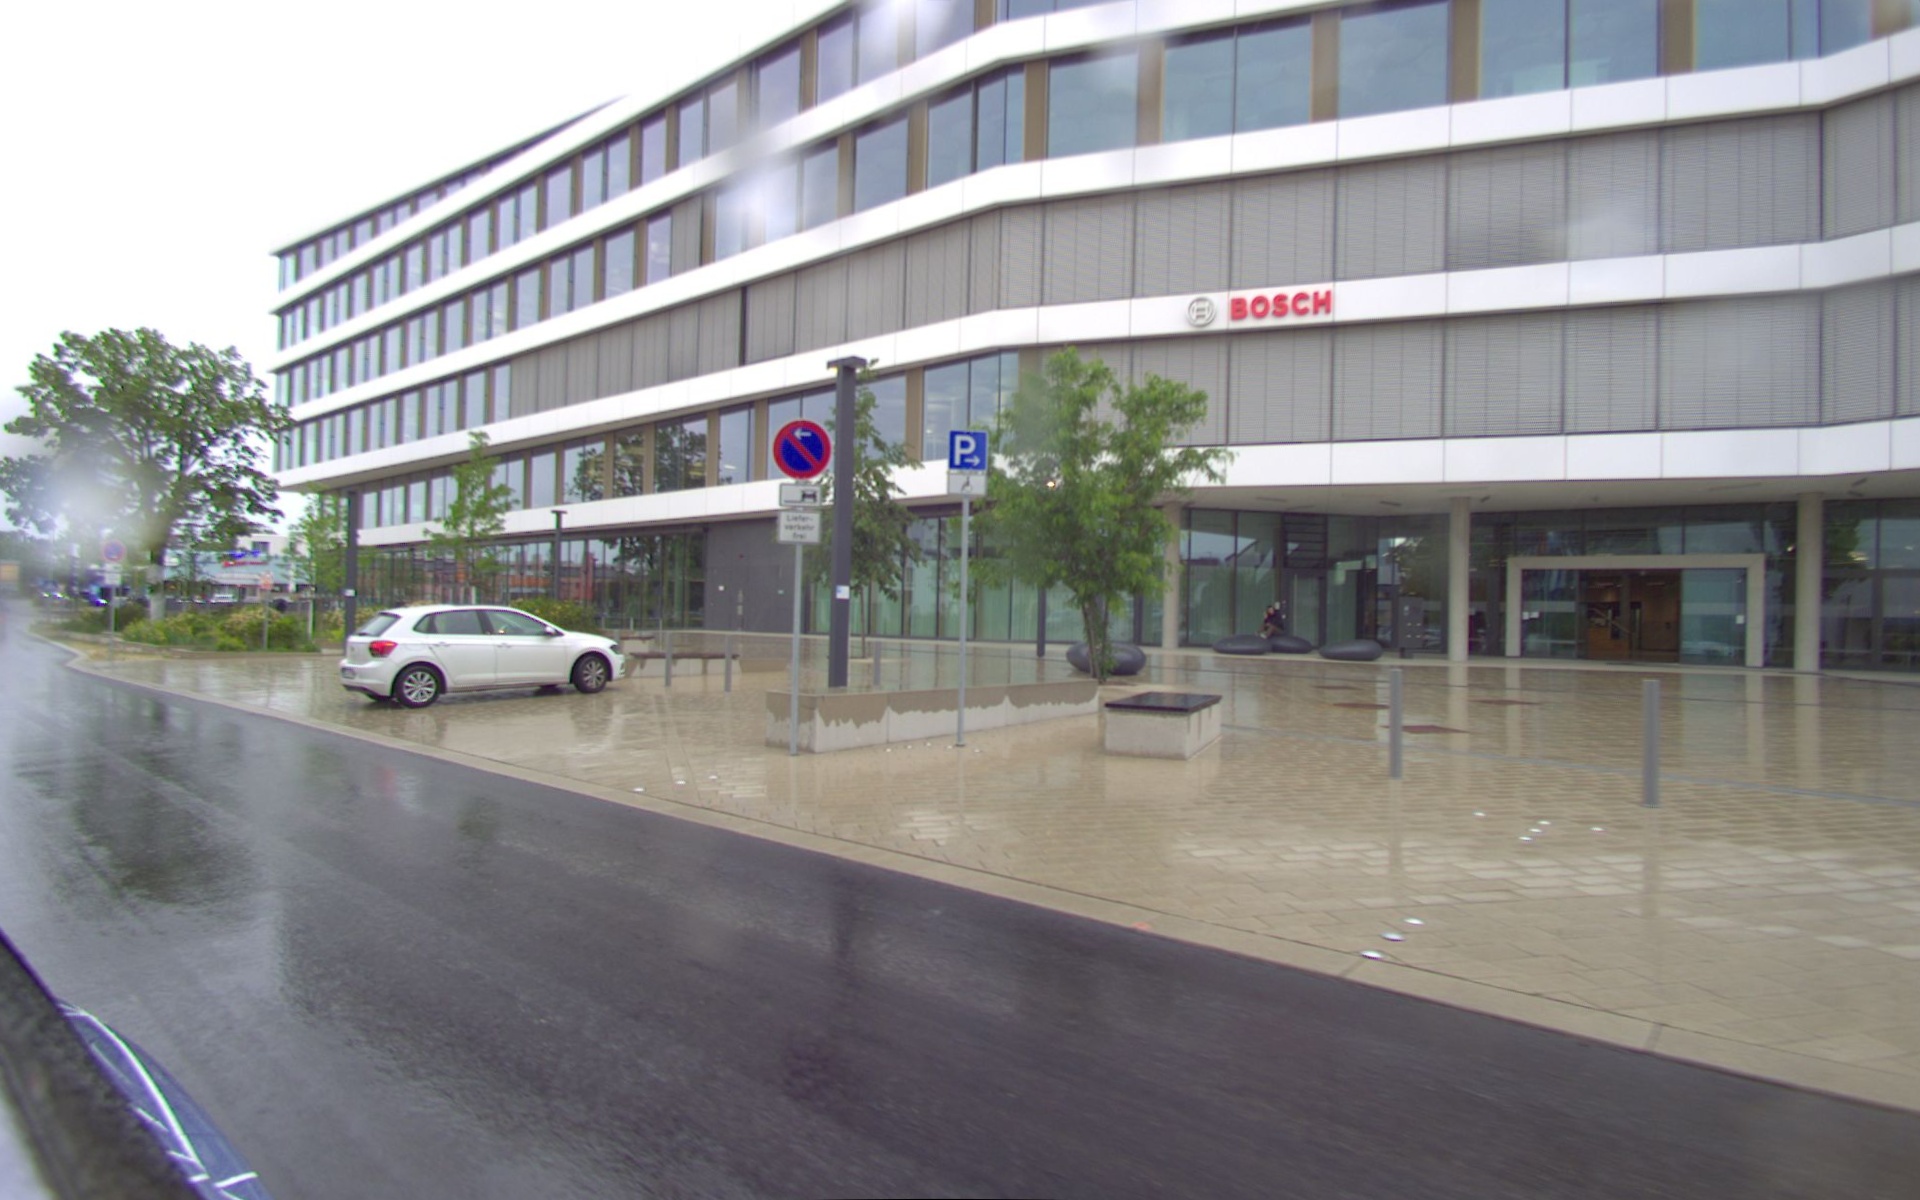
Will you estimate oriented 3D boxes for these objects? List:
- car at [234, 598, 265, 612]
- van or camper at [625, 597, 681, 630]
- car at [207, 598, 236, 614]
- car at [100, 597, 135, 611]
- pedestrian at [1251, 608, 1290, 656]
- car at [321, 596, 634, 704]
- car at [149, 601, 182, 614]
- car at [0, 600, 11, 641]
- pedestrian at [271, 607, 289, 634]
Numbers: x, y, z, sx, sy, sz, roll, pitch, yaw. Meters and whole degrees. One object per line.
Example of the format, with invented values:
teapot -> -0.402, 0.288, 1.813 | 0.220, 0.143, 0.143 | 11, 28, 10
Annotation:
car -> -71.575, 0.509, 102.029 | 1.855, 1.305, 4.013 | -2, 1, -25
van or camper -> -30.799, 1.316, 101.567 | 5.013, 3.111, 2.006 | -1, 0, -28
car -> -73.737, 0.611, 101.089 | 1.763, 1.564, 4.013 | 1, -1, -28
car -> -96.487, 0.433, 115.940 | 1.888, 1.541, 4.013 | -1, 0, -22
pedestrian -> 9.064, 0.929, 29.596 | 1.051, 1.324, 0.895 | 0, 3, 15
car -> -7.254, 0.703, 15.477 | 1.898, 1.434, 3.885 | -1, -1, 42
car -> -85.528, 0.742, 109.041 | 1.855, 1.305, 4.013 | -2, 1, -25
car -> -44.662, 0.908, 45.970 | 4.980, 1.831, 1.980 | -1, -1, 44
pedestrian -> -44.584, 1.319, 66.339 | 0.957, 1.716, 0.716 | 2, 3, 45
